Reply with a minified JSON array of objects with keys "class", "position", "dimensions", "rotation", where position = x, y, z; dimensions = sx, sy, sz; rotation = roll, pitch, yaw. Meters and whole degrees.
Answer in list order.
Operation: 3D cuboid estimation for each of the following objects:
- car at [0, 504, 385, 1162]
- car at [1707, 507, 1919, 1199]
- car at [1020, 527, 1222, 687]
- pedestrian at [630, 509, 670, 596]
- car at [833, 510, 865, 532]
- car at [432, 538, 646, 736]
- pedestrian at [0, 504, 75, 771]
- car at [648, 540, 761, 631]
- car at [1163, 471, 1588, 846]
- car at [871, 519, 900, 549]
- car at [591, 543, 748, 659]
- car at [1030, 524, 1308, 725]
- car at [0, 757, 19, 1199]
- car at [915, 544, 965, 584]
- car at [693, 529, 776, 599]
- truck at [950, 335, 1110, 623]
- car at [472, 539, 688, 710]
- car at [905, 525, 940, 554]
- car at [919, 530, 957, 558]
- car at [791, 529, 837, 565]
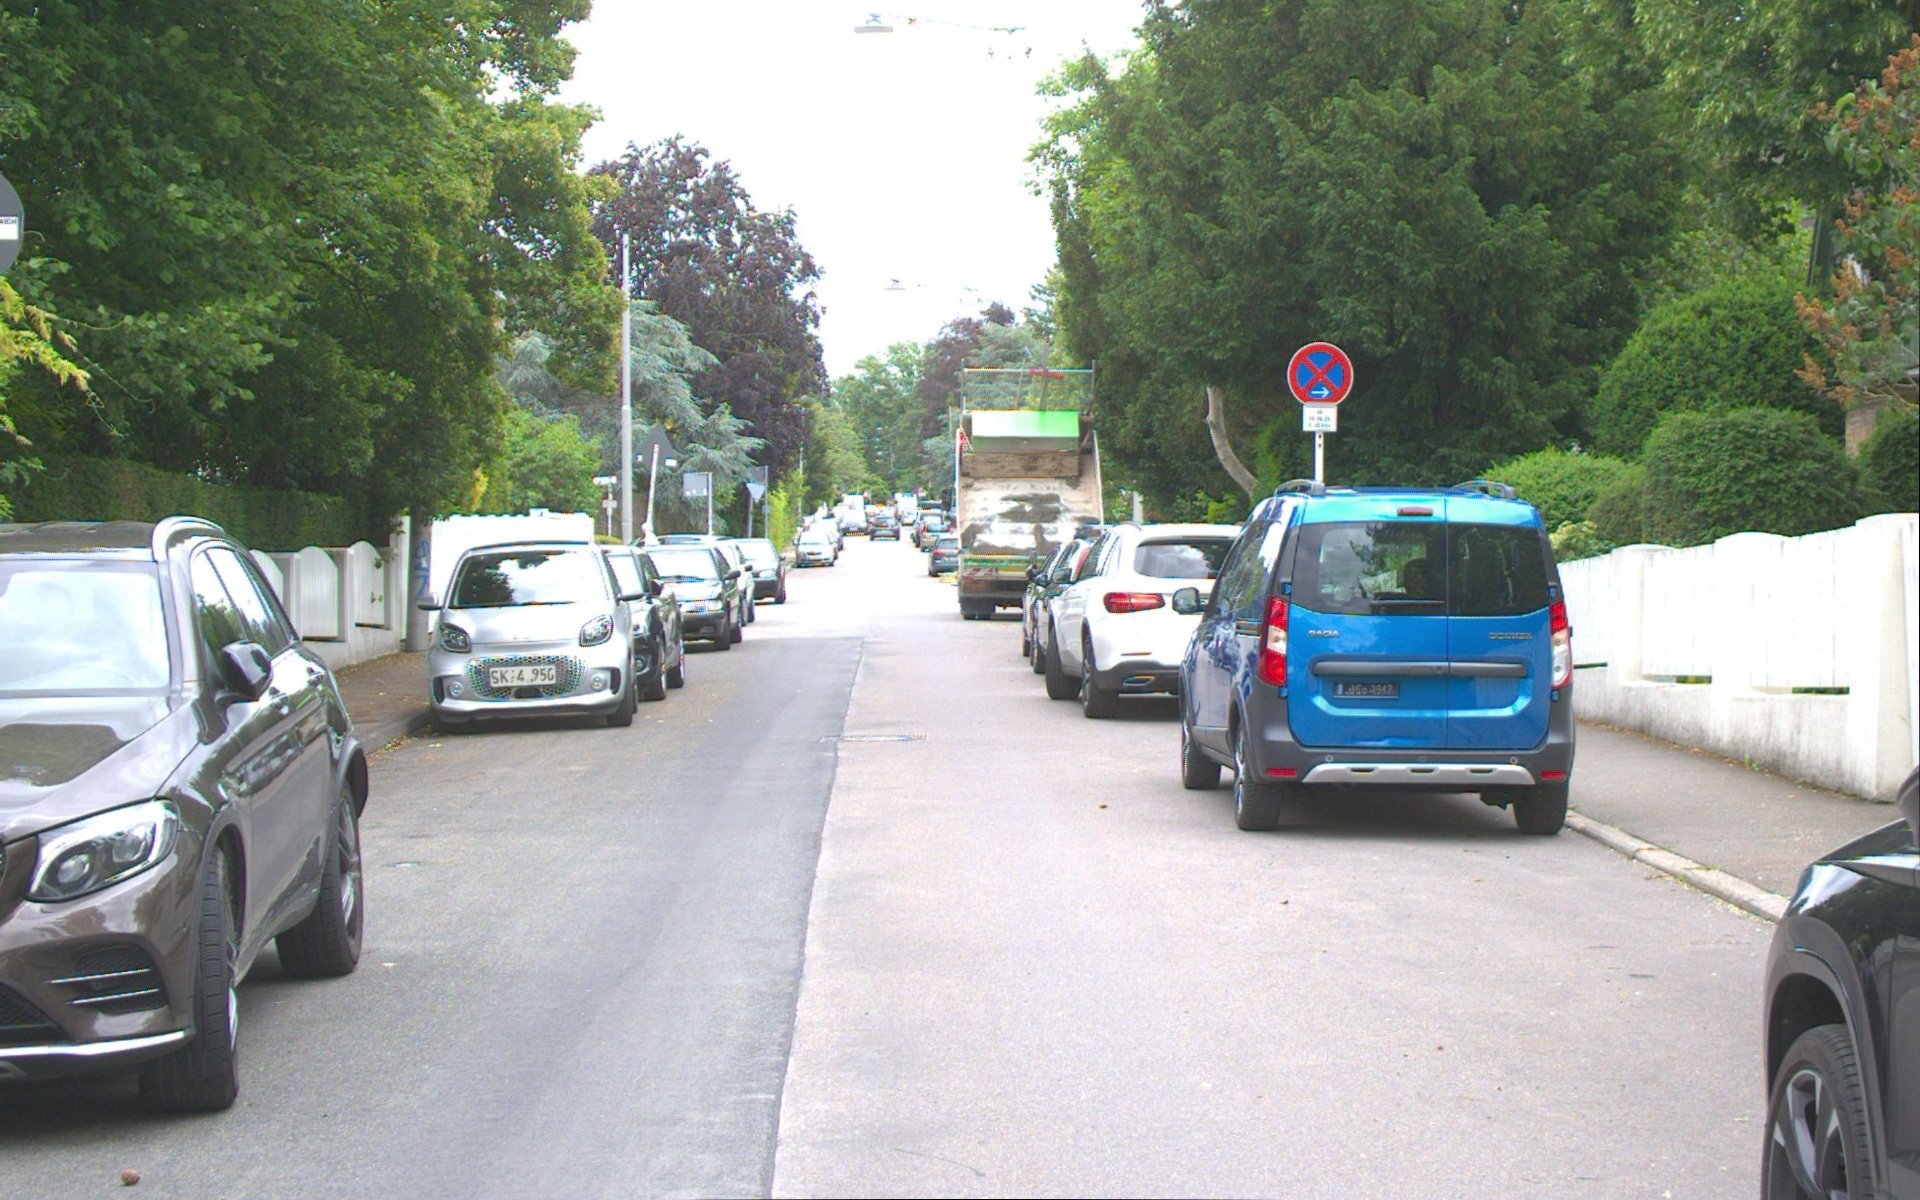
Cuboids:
[{"class":"car","position":[-2.936,0.557,10.650],"dimensions":[1.790,1.618,4.344],"rotation":[-1,1,-3]},{"class":"car","position":[2.411,0.684,4.747],"dimensions":[1.750,1.602,4.076],"rotation":[2,0,-1]},{"class":"car","position":[1.632,0.039,36.236],"dimensions":[1.698,1.565,4.309],"rotation":[-1,1,-3]},{"class":"pedestrian","position":[-7.208,-1.104,79.889],"dimensions":[0.852,2.007,0.701],"rotation":[2,0,-6]},{"class":"car","position":[-7.105,-5.078,220.868],"dimensions":[1.728,1.402,3.803],"rotation":[0,1,3]},{"class":"car","position":[-3.528,0.272,29.214],"dimensions":[1.621,1.528,2.963],"rotation":[-2,1,-4]},{"class":"pedestrian","position":[-5.727,0.203,20.481],"dimensions":[0.608,1.541,0.798],"rotation":[5,0,-2]},{"class":"car","position":[-4.307,-0.272,58.429],"dimensions":[1.596,1.428,4.000],"rotation":[-2,1,0]},{"class":"car","position":[2.199,0.248,19.245],"dimensions":[1.682,1.823,4.157],"rotation":[2,1,-2]},{"class":"car","position":[-4.405,-3.884,202.310],"dimensions":[1.633,1.695,3.495],"rotation":[1,1,-2]},{"class":"car","position":[-3.911,-0.023,46.842],"dimensions":[1.641,1.417,4.549],"rotation":[-2,1,1]},{"class":"car","position":[1.741,0.162,30.081],"dimensions":[1.757,1.600,4.576],"rotation":[1,1,-5]},{"class":"car","position":[-2.878,0.524,4.833],"dimensions":[1.854,1.907,4.619],"rotation":[-2,0,-1]},{"class":"car","position":[-0.783,-1.375,130.423],"dimensions":[1.778,1.484,4.000],"rotation":[0,1,-2]},{"class":"car","position":[-4.800,-0.786,73.542],"dimensions":[1.637,1.390,3.989],"rotation":[-2,1,-2]},{"class":"truck","position":[1.151,-2.067,60.612],"dimensions":[2.524,4.732,7.187],"rotation":[1,1,-1]},{"class":"car","position":[-3.643,0.188,33.536],"dimensions":[1.655,1.476,3.888],"rotation":[-3,1,-1]},{"class":"car","position":[-1.972,-3.213,182.849],"dimensions":[1.789,1.524,3.734],"rotation":[0,1,0]},{"class":"car","position":[-1.119,-2.846,174.041],"dimensions":[1.810,1.331,3.633],"rotation":[1,2,-2]},{"class":"car","position":[-6.364,-2.323,150.314],"dimensions":[1.711,1.580,4.000],"rotation":[0,1,2]}]
